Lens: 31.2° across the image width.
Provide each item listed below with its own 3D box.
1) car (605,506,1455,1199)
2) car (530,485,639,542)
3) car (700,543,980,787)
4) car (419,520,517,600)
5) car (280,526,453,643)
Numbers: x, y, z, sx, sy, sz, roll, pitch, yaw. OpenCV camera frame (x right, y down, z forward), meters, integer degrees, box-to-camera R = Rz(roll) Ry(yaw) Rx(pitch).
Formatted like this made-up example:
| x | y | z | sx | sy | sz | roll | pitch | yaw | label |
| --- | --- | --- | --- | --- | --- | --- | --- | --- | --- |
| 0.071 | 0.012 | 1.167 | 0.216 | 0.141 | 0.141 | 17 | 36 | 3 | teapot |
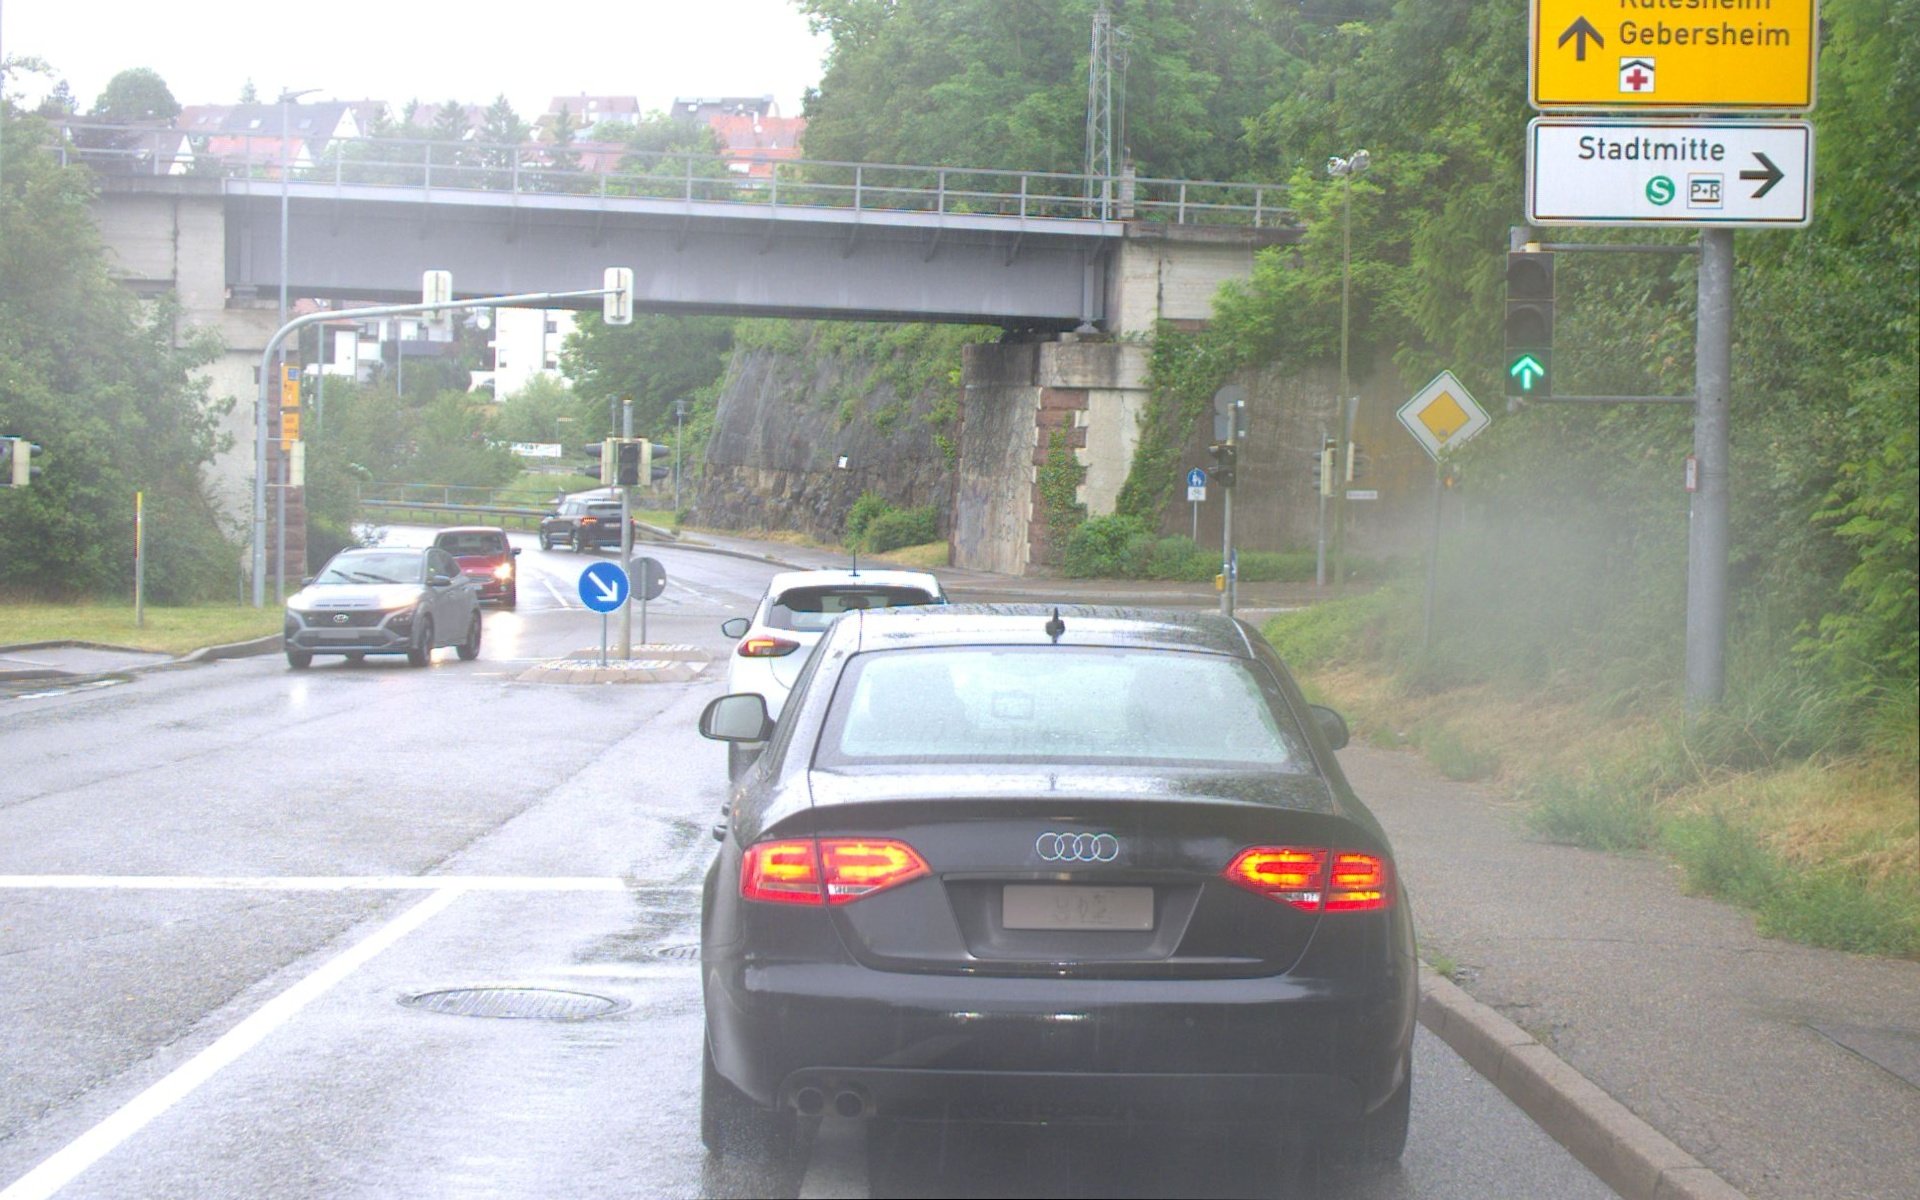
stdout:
| x | y | z | sx | sy | sz | roll | pitch | yaw | label |
| --- | --- | --- | --- | --- | --- | --- | --- | --- | --- |
| 0.131 | 0.617 | 9.599 | 1.870 | 1.611 | 4.000 | 0 | 0 | -1 | car |
| -11.285 | -2.614 | 103.031 | 1.993 | 1.590 | 4.001 | -1 | 3 | -26 | car |
| -0.809 | 0.439 | 24.491 | 1.823 | 1.579 | 4.000 | 0 | 0 | -1 | car |
| -10.419 | -0.853 | 72.956 | 1.993 | 1.623 | 4.001 | 0 | 1 | -7 | car |
| -7.775 | -0.228 | 45.293 | 1.639 | 1.465 | 4.000 | 0 | 1 | -1 | car |
